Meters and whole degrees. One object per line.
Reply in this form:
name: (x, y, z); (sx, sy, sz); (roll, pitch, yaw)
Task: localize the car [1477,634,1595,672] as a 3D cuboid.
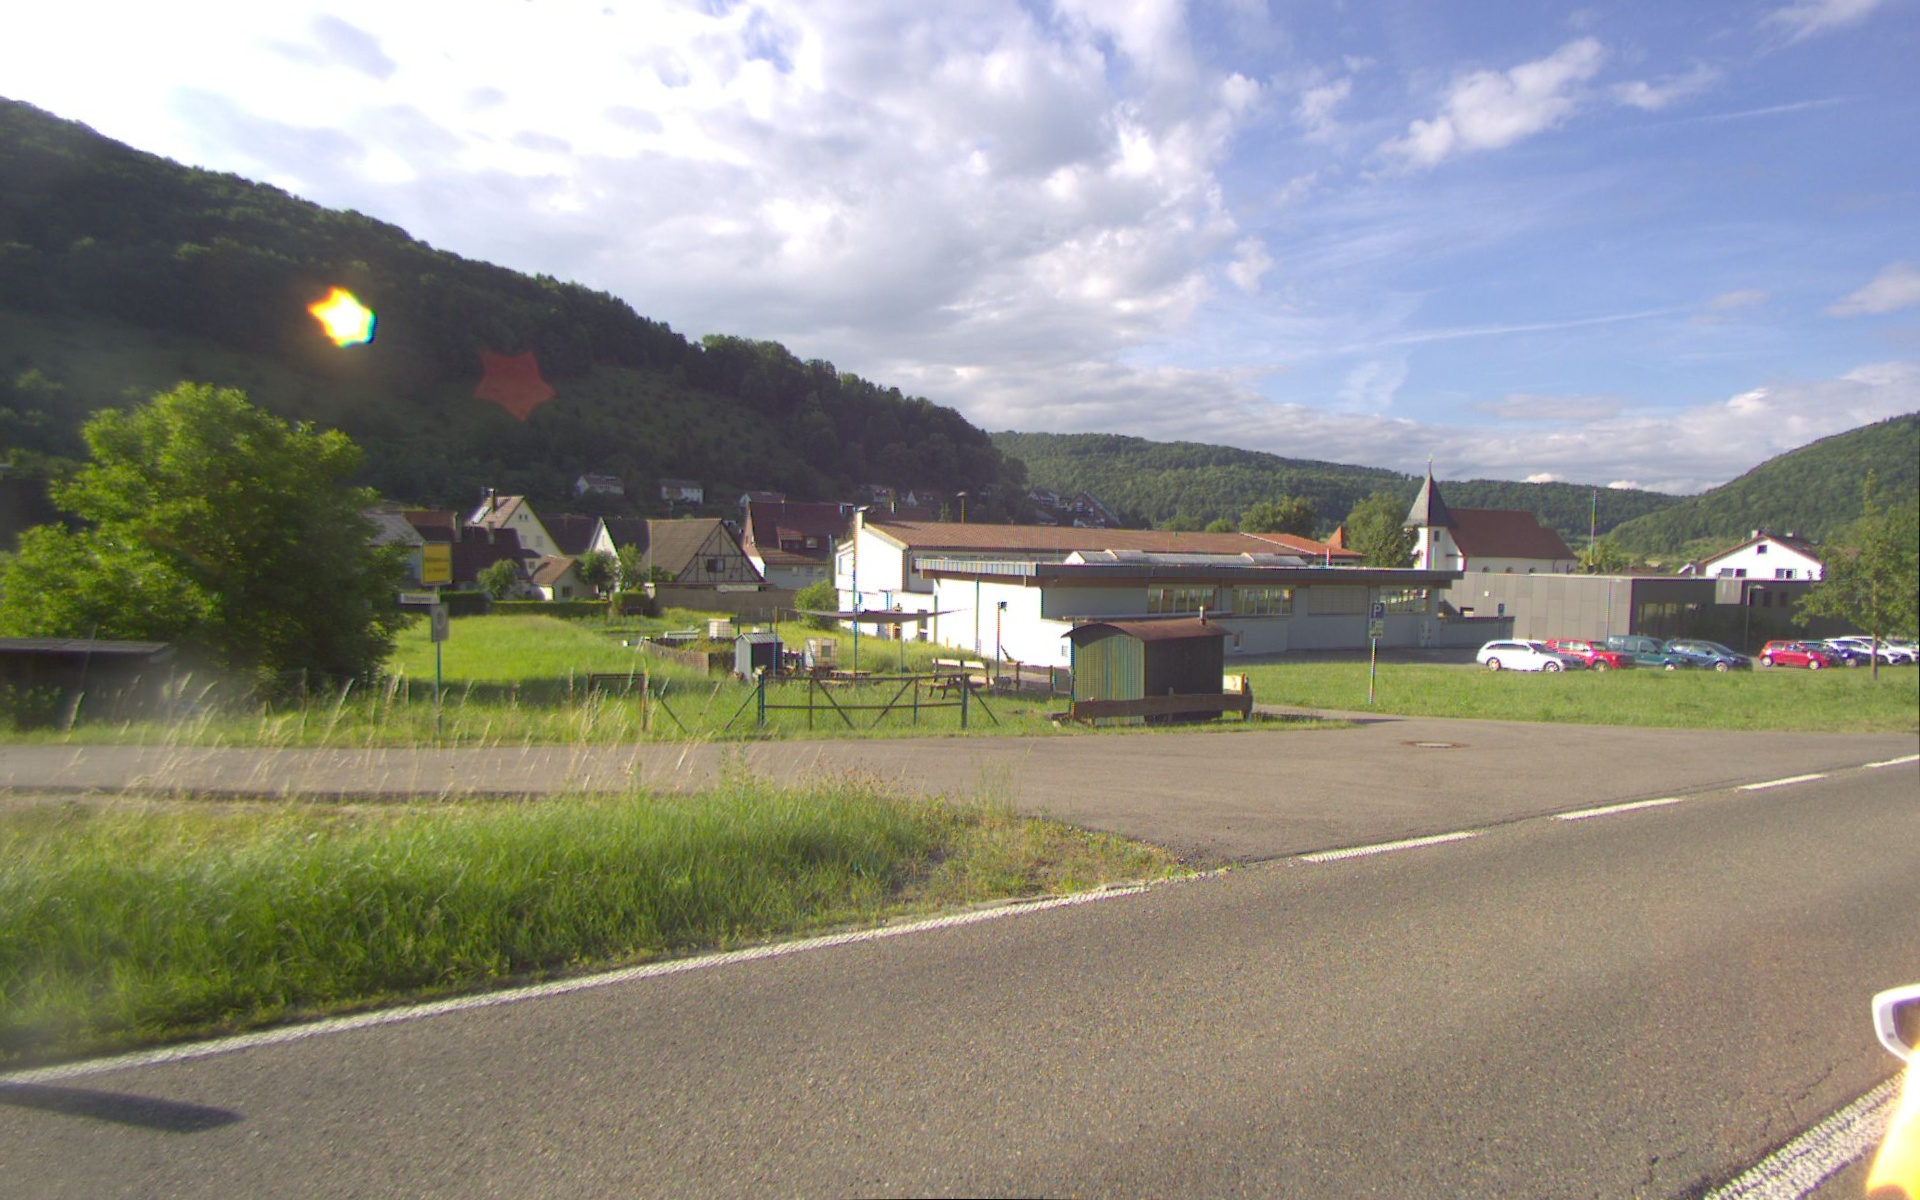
car: (27.661, 2.504, 48.374); (1.974, 1.610, 4.624); (1, -1, -26)

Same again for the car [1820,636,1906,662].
car: (55.696, 3.004, 62.026); (1.575, 1.513, 3.655); (2, -1, -25)

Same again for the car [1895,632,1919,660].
car: (66.119, 3.109, 67.491); (1.816, 1.839, 4.539); (1, -1, -25)

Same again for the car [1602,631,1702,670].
car: (35.484, 2.563, 51.606); (1.734, 1.745, 3.845); (1, 0, -28)

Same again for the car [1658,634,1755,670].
car: (39.690, 2.724, 53.473); (1.709, 1.744, 3.805); (1, -1, -26)

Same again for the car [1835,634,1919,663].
car: (58.520, 3.034, 63.868); (1.575, 1.695, 4.064); (0, -1, -25)

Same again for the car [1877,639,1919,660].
car: (63.509, 3.293, 66.909); (1.642, 1.392, 3.350); (1, -1, -33)

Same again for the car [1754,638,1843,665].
car: (48.519, 2.950, 58.192); (1.626, 1.463, 3.613); (1, -1, -25)

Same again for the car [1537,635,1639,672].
car: (30.562, 2.576, 49.002); (1.733, 1.600, 3.906); (1, -1, -26)

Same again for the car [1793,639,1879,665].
car: (52.911, 3.119, 60.705); (1.575, 1.423, 3.613); (2, -2, -25)
